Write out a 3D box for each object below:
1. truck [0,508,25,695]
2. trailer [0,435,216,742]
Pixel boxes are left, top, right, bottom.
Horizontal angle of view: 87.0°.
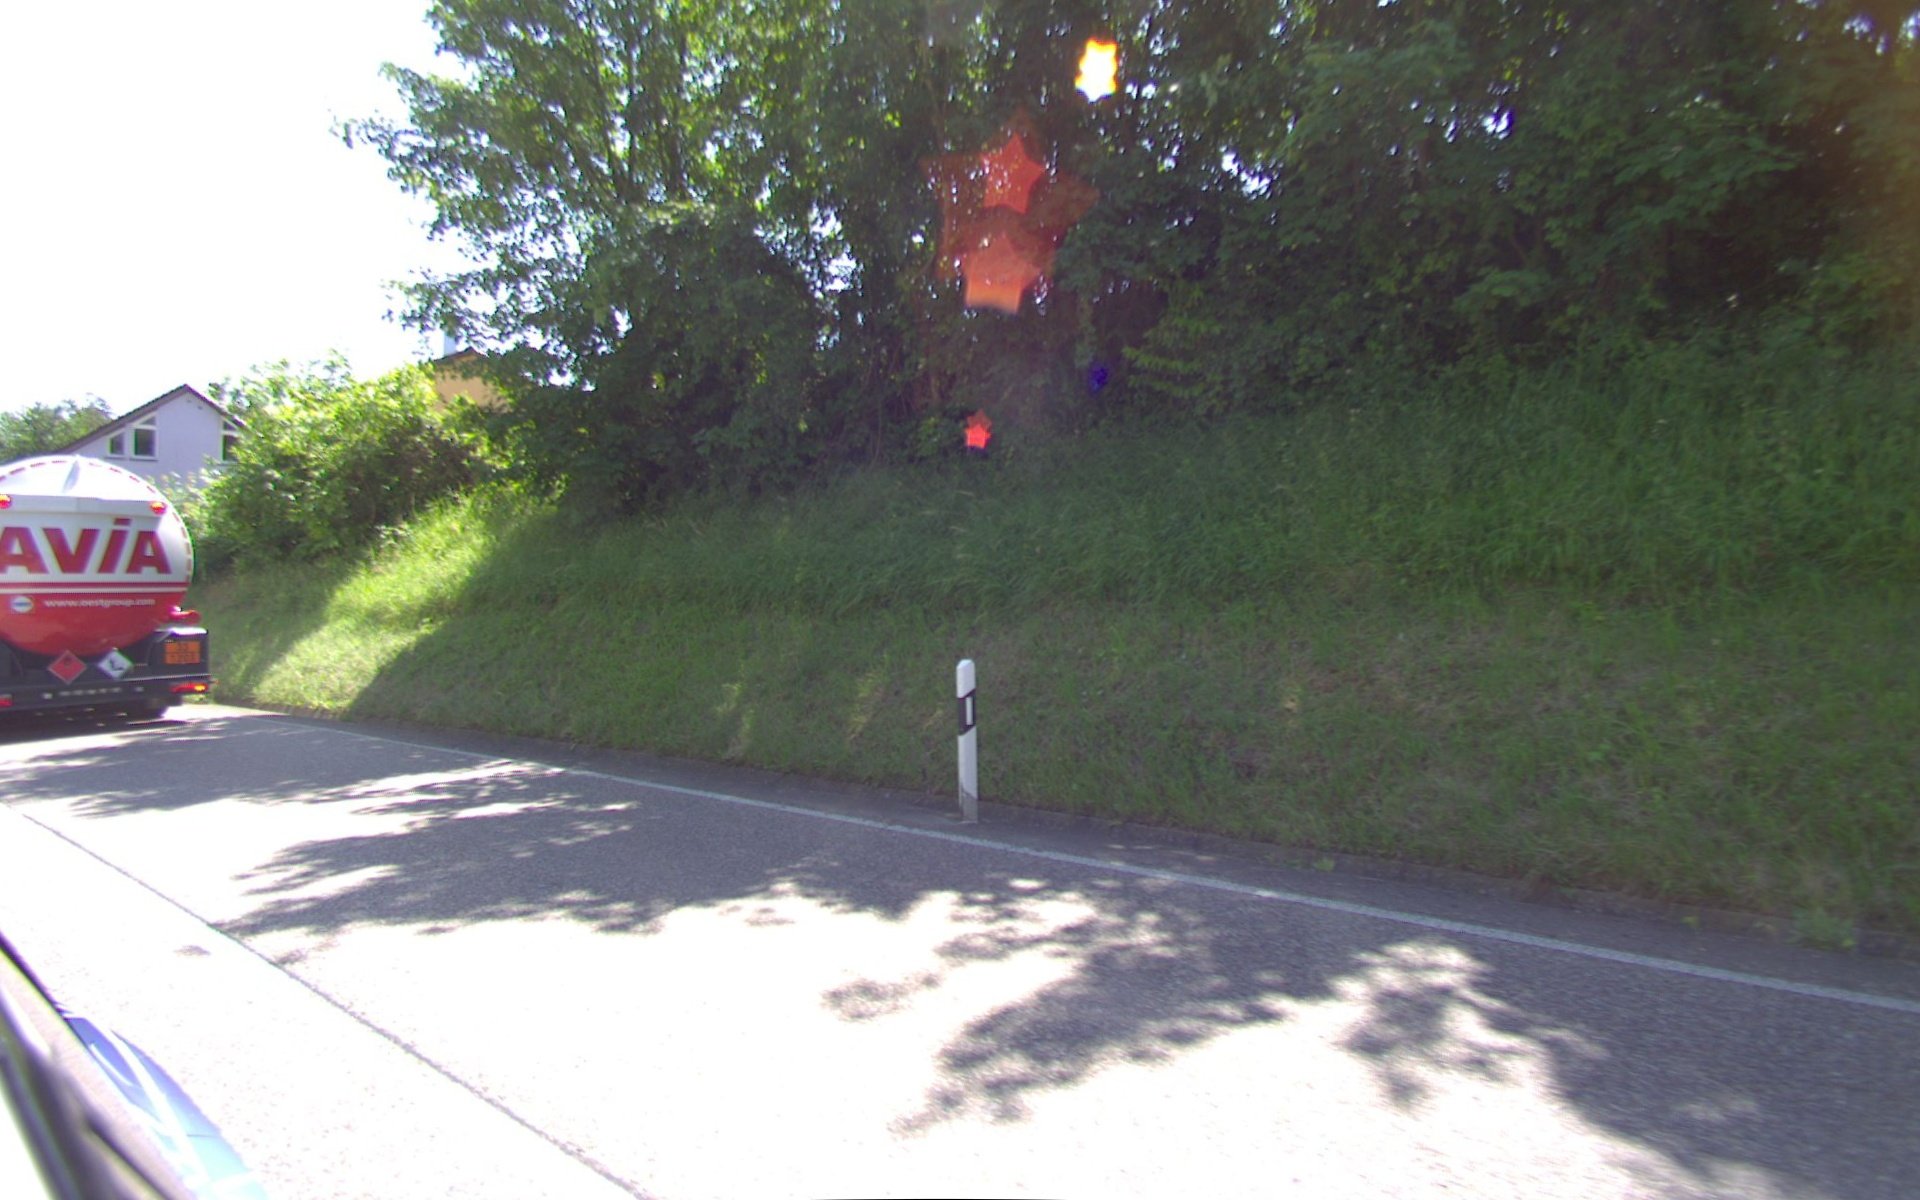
[{"bbox_3d":[-19.867,0.062,18.397,7.047,3.194,2.605,-1,0,33],"label":"truck"},{"bbox_3d":[-14.798,-0.092,14.985,11.114,3.398,2.611,-1,0,35],"label":"trailer"}]
